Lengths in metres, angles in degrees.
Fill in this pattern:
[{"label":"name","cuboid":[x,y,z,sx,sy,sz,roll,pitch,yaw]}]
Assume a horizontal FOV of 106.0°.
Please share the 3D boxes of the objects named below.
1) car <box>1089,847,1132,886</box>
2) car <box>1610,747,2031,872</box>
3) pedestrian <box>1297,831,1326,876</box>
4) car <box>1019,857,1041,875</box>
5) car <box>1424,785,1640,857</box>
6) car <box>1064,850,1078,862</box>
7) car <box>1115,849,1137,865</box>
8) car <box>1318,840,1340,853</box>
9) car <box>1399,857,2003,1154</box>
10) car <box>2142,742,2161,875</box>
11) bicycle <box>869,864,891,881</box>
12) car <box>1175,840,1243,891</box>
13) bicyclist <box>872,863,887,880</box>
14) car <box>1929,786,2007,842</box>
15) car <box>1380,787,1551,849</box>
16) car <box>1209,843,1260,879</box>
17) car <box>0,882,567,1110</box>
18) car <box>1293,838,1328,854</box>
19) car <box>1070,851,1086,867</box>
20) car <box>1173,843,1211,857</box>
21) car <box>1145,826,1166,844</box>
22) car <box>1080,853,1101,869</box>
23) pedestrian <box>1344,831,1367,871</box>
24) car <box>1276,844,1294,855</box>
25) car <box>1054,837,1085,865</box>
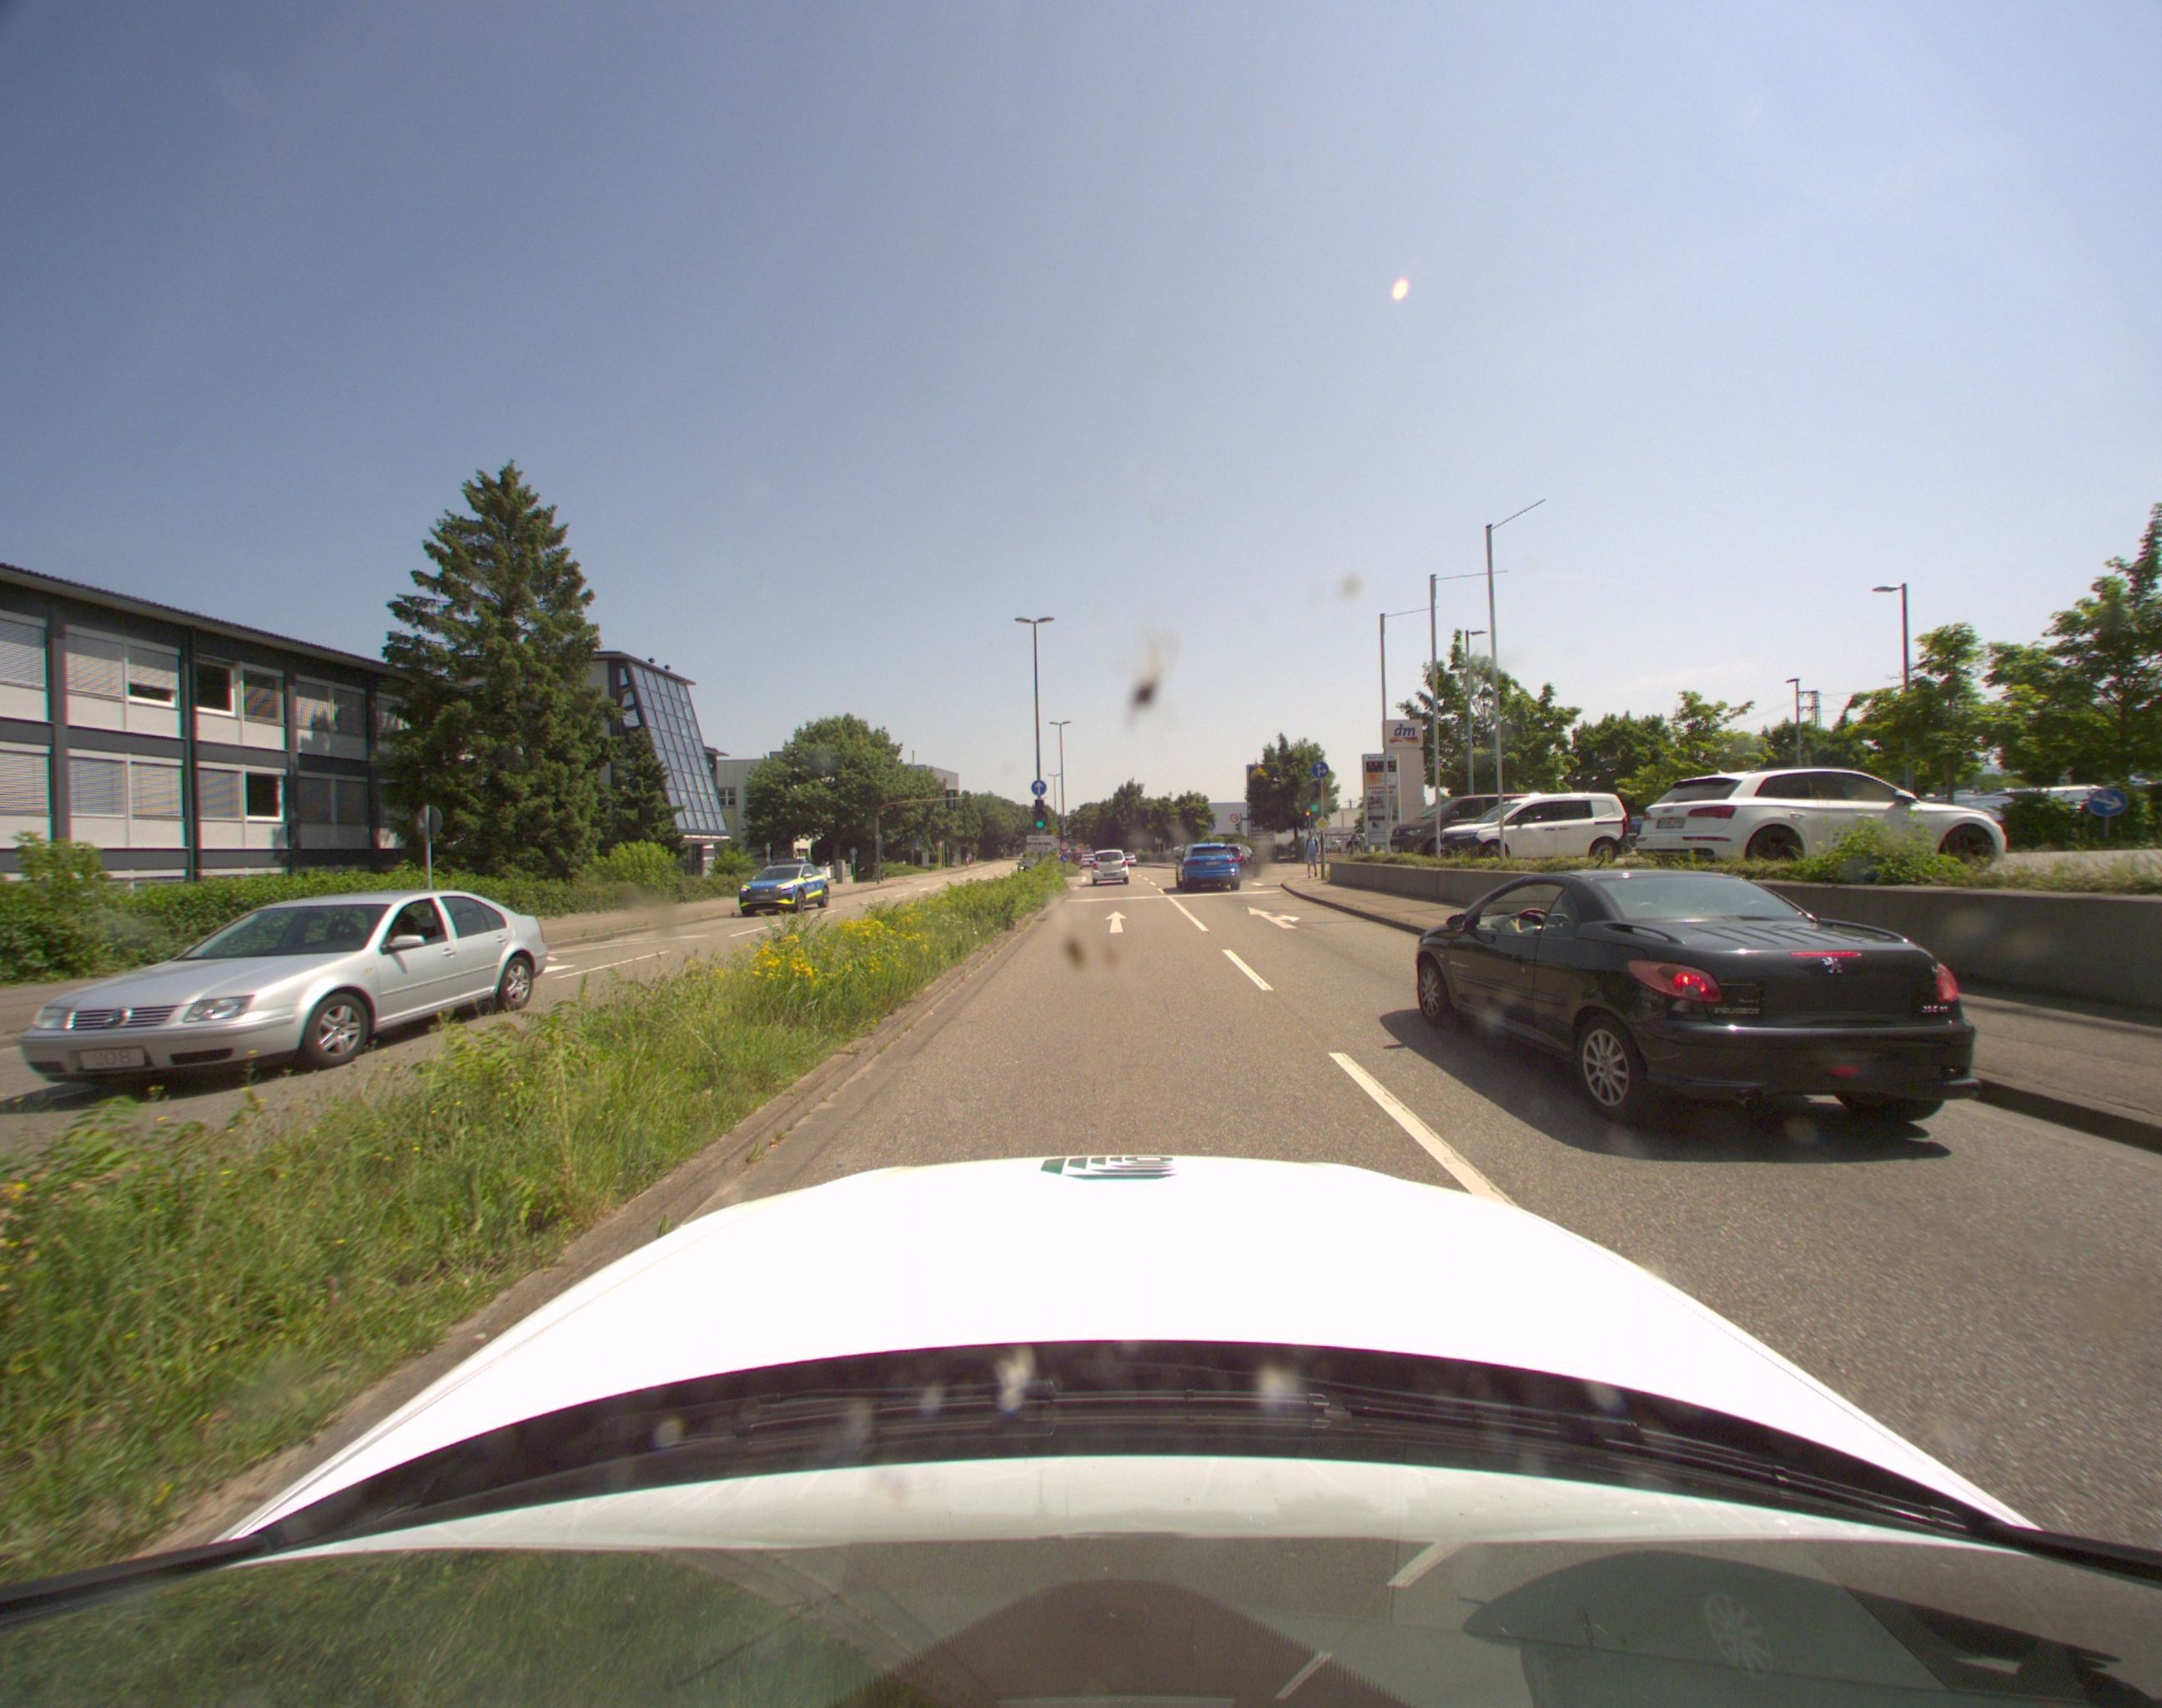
[{"label":"car","cuboid":[1.345,0.518,36.833,1.741,1.520,3.748,-3,1,2]},{"label":"car","cuboid":[10.898,-0.624,12.285,4.520,1.544,2.000,-2,0,0]},{"label":"pedestrian","cuboid":[8.450,-0.013,29.812,0.767,1.608,1.091,-2,0,28]},{"label":"car","cuboid":[-3.929,0.935,62.807,1.571,1.269,3.725,-2,0,-4]},{"label":"car","cuboid":[11.286,-0.795,20.591,4.334,1.544,1.999,-3,0,-1]},{"label":"car","cuboid":[-1.400,0.297,118.355,1.791,1.690,4.000,-2,0,1]},{"label":"car","cuboid":[4.390,0.274,80.269,1.987,1.420,4.000,-2,0,1]},{"label":"car","cuboid":[26.780,-0.801,87.980,1.498,1.262,3.168,-2,0,3]},{"label":"car","cuboid":[3.718,0.745,5.772,1.621,1.364,3.607,0,1,2]},{"label":"car","cuboid":[13.491,-0.563,7.726,3.893,1.452,1.771,-2,0,14]},{"label":"bicycle","cuboid":[-18.929,1.695,76.752,0.901,1.502,2.484,-2,0,15]},{"label":"car","cuboid":[4.281,0.341,27.734,1.821,1.580,3.607,-2,1,2]},{"label":"bicyclist","cuboid":[-18.956,1.669,76.665,0.901,1.572,1.029,-2,0,15]},{"label":"car","cuboid":[32.385,-1.430,29.817,1.706,1.845,3.516,-2,0,44]},{"label":"car","cuboid":[11.032,-1.008,23.598,3.975,1.544,1.999,-3,0,-1]},{"label":"car","cuboid":[6.383,0.257,33.668,1.446,1.376,3.510,-2,0,21]},{"label":"car","cuboid":[-7.121,1.076,8.000,1.734,1.413,4.361,-2,0,-7]},{"label":"car","cuboid":[23.247,-0.783,82.452,1.516,1.464,3.129,-2,0,-38]},{"label":"car","cuboid":[-0.368,0.521,93.903,1.771,1.740,3.997,-2,0,-2]},{"label":"car","cuboid":[12.515,-0.472,91.725,3.979,1.486,1.648,-2,0,-4]},{"label":"car","cuboid":[8.374,-2.125,91.843,1.765,2.013,3.987,-2,1,-2]},{"label":"car","cuboid":[0.914,0.669,80.188,1.987,1.442,4.000,-2,0,0]},{"label":"pedestrian","cuboid":[11.769,-0.132,34.935,0.652,1.686,0.748,-2,0,1]},{"label":"car","cuboid":[24.617,-0.565,98.434,1.498,1.262,3.168,-2,0,3]},{"label":"car","cuboid":[-0.790,-0.235,52.879,1.815,1.661,3.996,-2,1,-3]}]
